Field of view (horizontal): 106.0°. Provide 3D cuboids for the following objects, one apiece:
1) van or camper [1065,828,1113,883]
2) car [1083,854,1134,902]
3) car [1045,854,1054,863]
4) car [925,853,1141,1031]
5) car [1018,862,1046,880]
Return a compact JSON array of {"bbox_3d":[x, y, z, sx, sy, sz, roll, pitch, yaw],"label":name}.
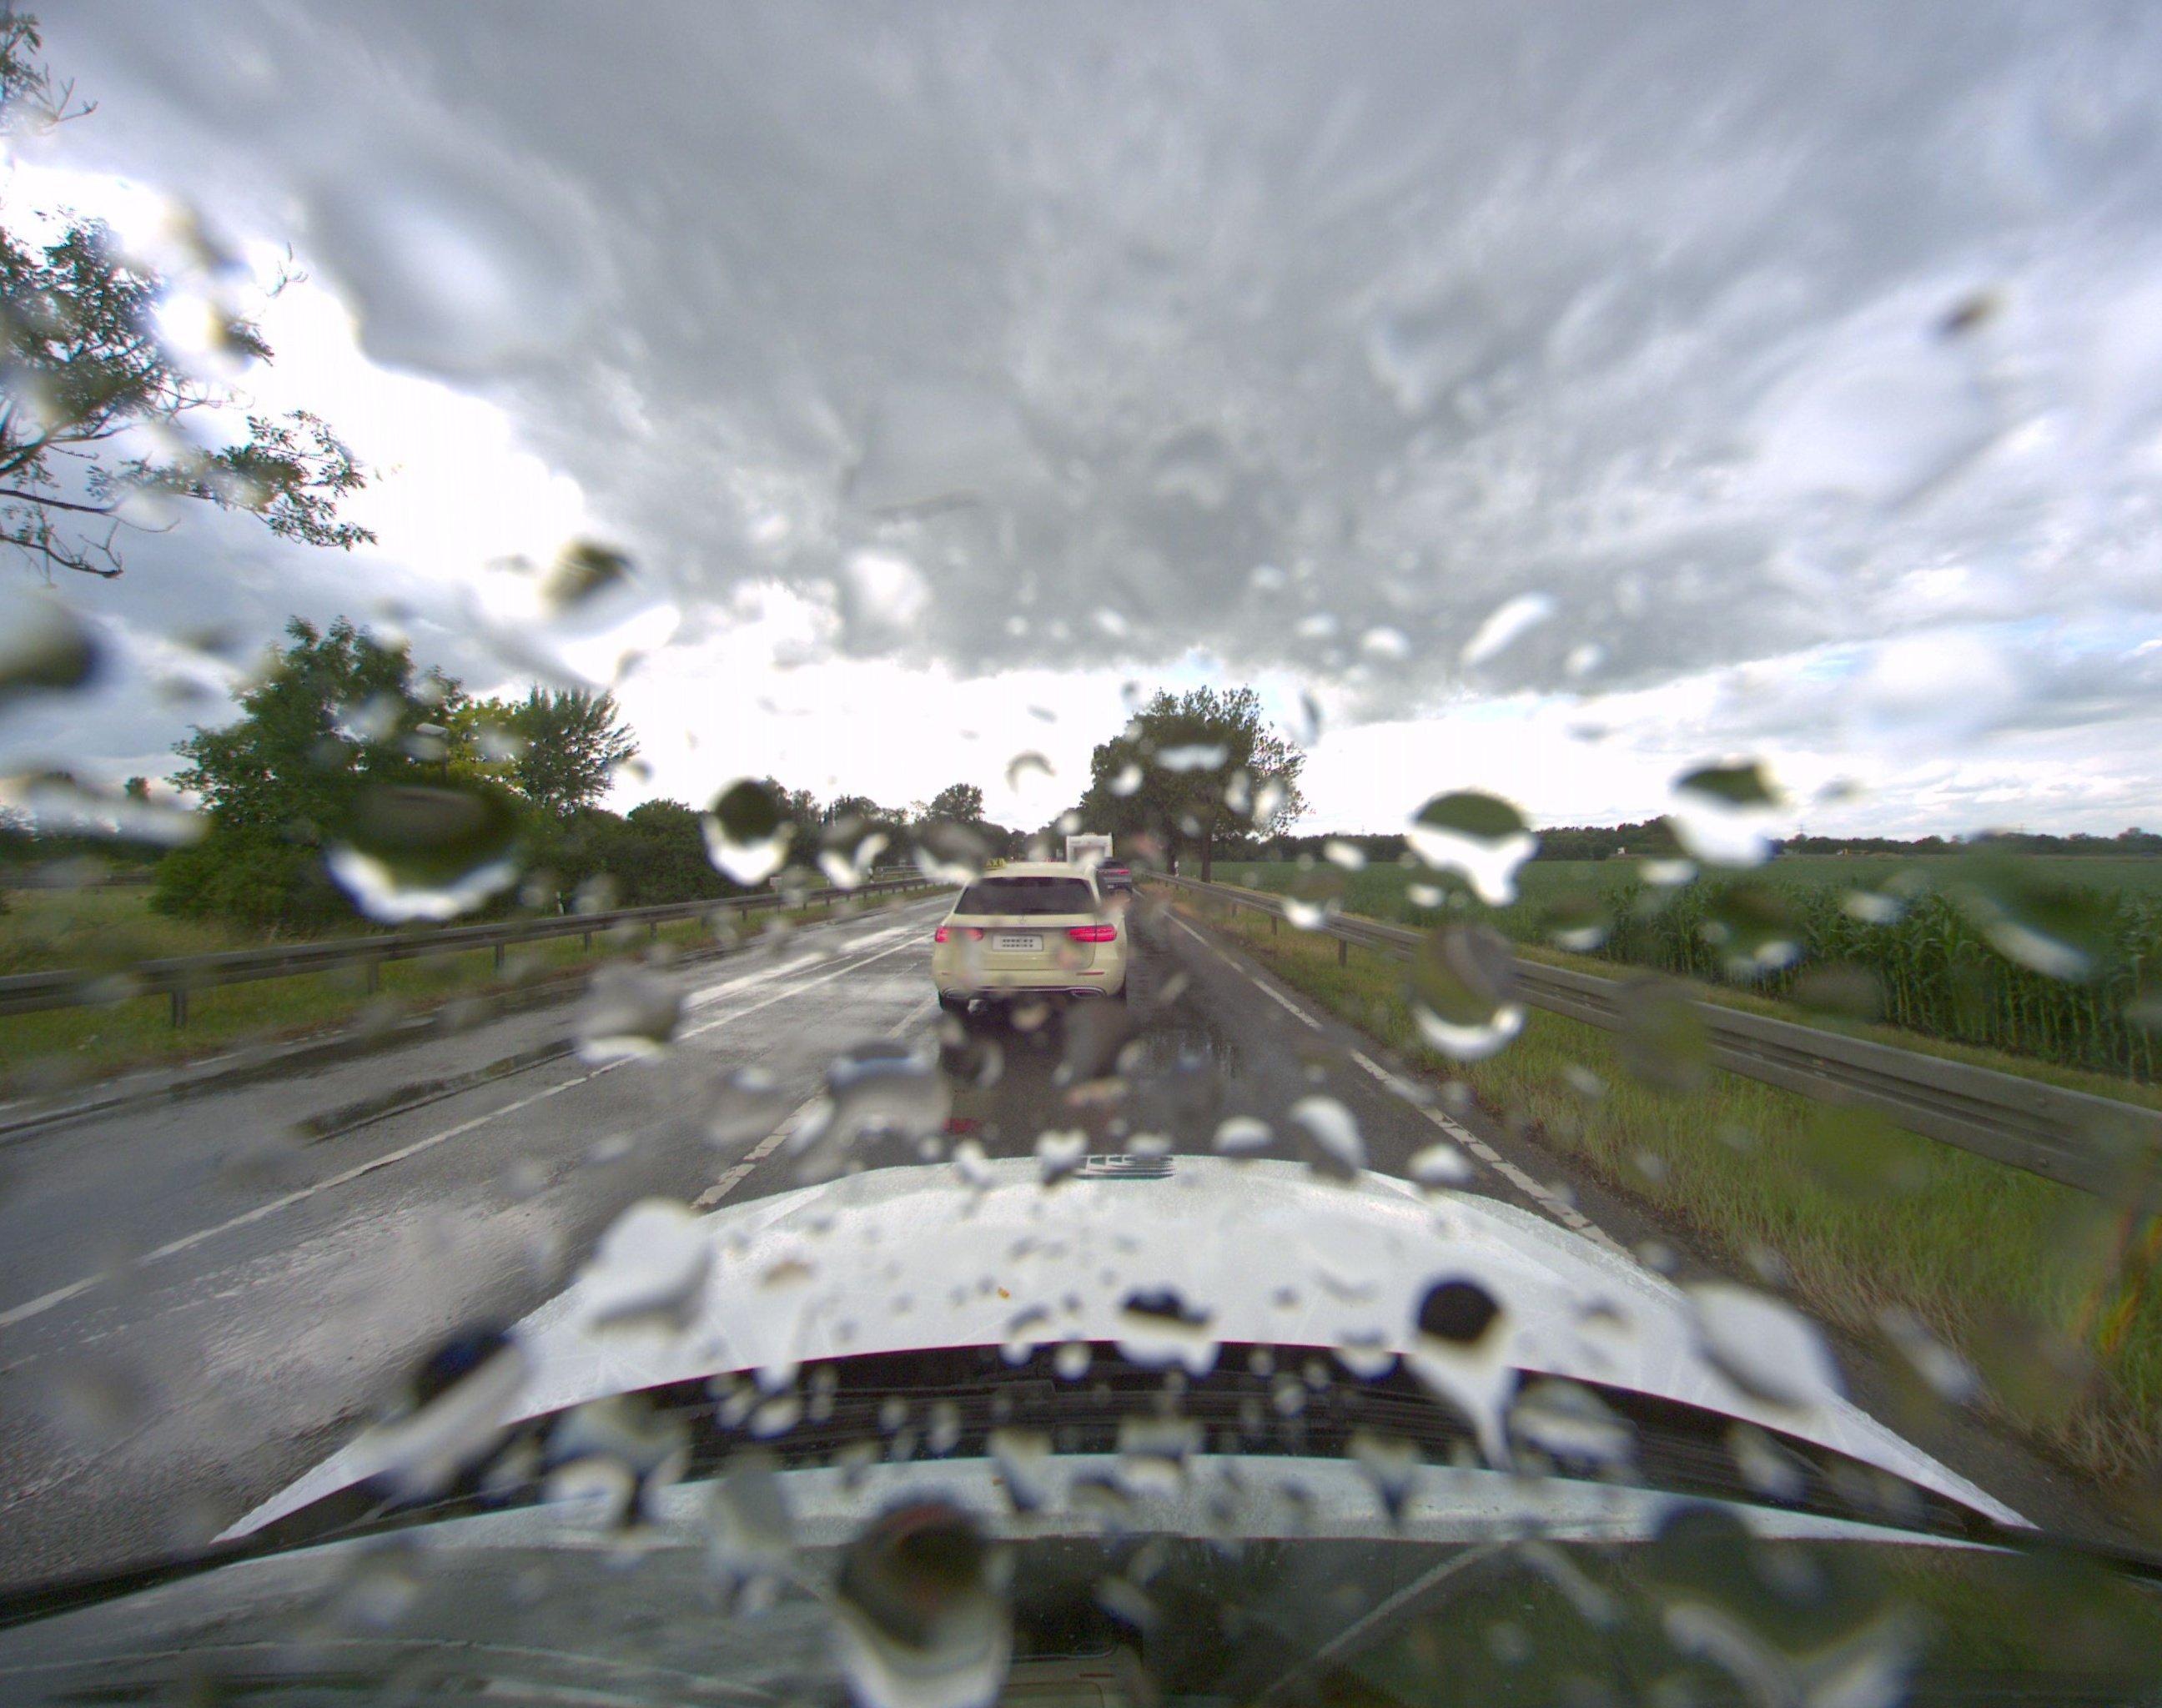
[{"bbox_3d":[0.475,0.056,42.358,2.342,2.680,5.770,0,0,2],"label":"van or camper"},{"bbox_3d":[0.949,0.772,28.392,1.621,1.529,3.934,-1,0,2],"label":"car"},{"bbox_3d":[-7.965,1.160,209.407,1.986,2.051,4.002,0,0,2],"label":"car"},{"bbox_3d":[-0.316,0.762,9.041,1.817,1.485,4.148,-1,0,3],"label":"car"},{"bbox_3d":[-3.600,1.240,60.581,1.752,1.269,4.001,-1,0,2],"label":"car"}]
